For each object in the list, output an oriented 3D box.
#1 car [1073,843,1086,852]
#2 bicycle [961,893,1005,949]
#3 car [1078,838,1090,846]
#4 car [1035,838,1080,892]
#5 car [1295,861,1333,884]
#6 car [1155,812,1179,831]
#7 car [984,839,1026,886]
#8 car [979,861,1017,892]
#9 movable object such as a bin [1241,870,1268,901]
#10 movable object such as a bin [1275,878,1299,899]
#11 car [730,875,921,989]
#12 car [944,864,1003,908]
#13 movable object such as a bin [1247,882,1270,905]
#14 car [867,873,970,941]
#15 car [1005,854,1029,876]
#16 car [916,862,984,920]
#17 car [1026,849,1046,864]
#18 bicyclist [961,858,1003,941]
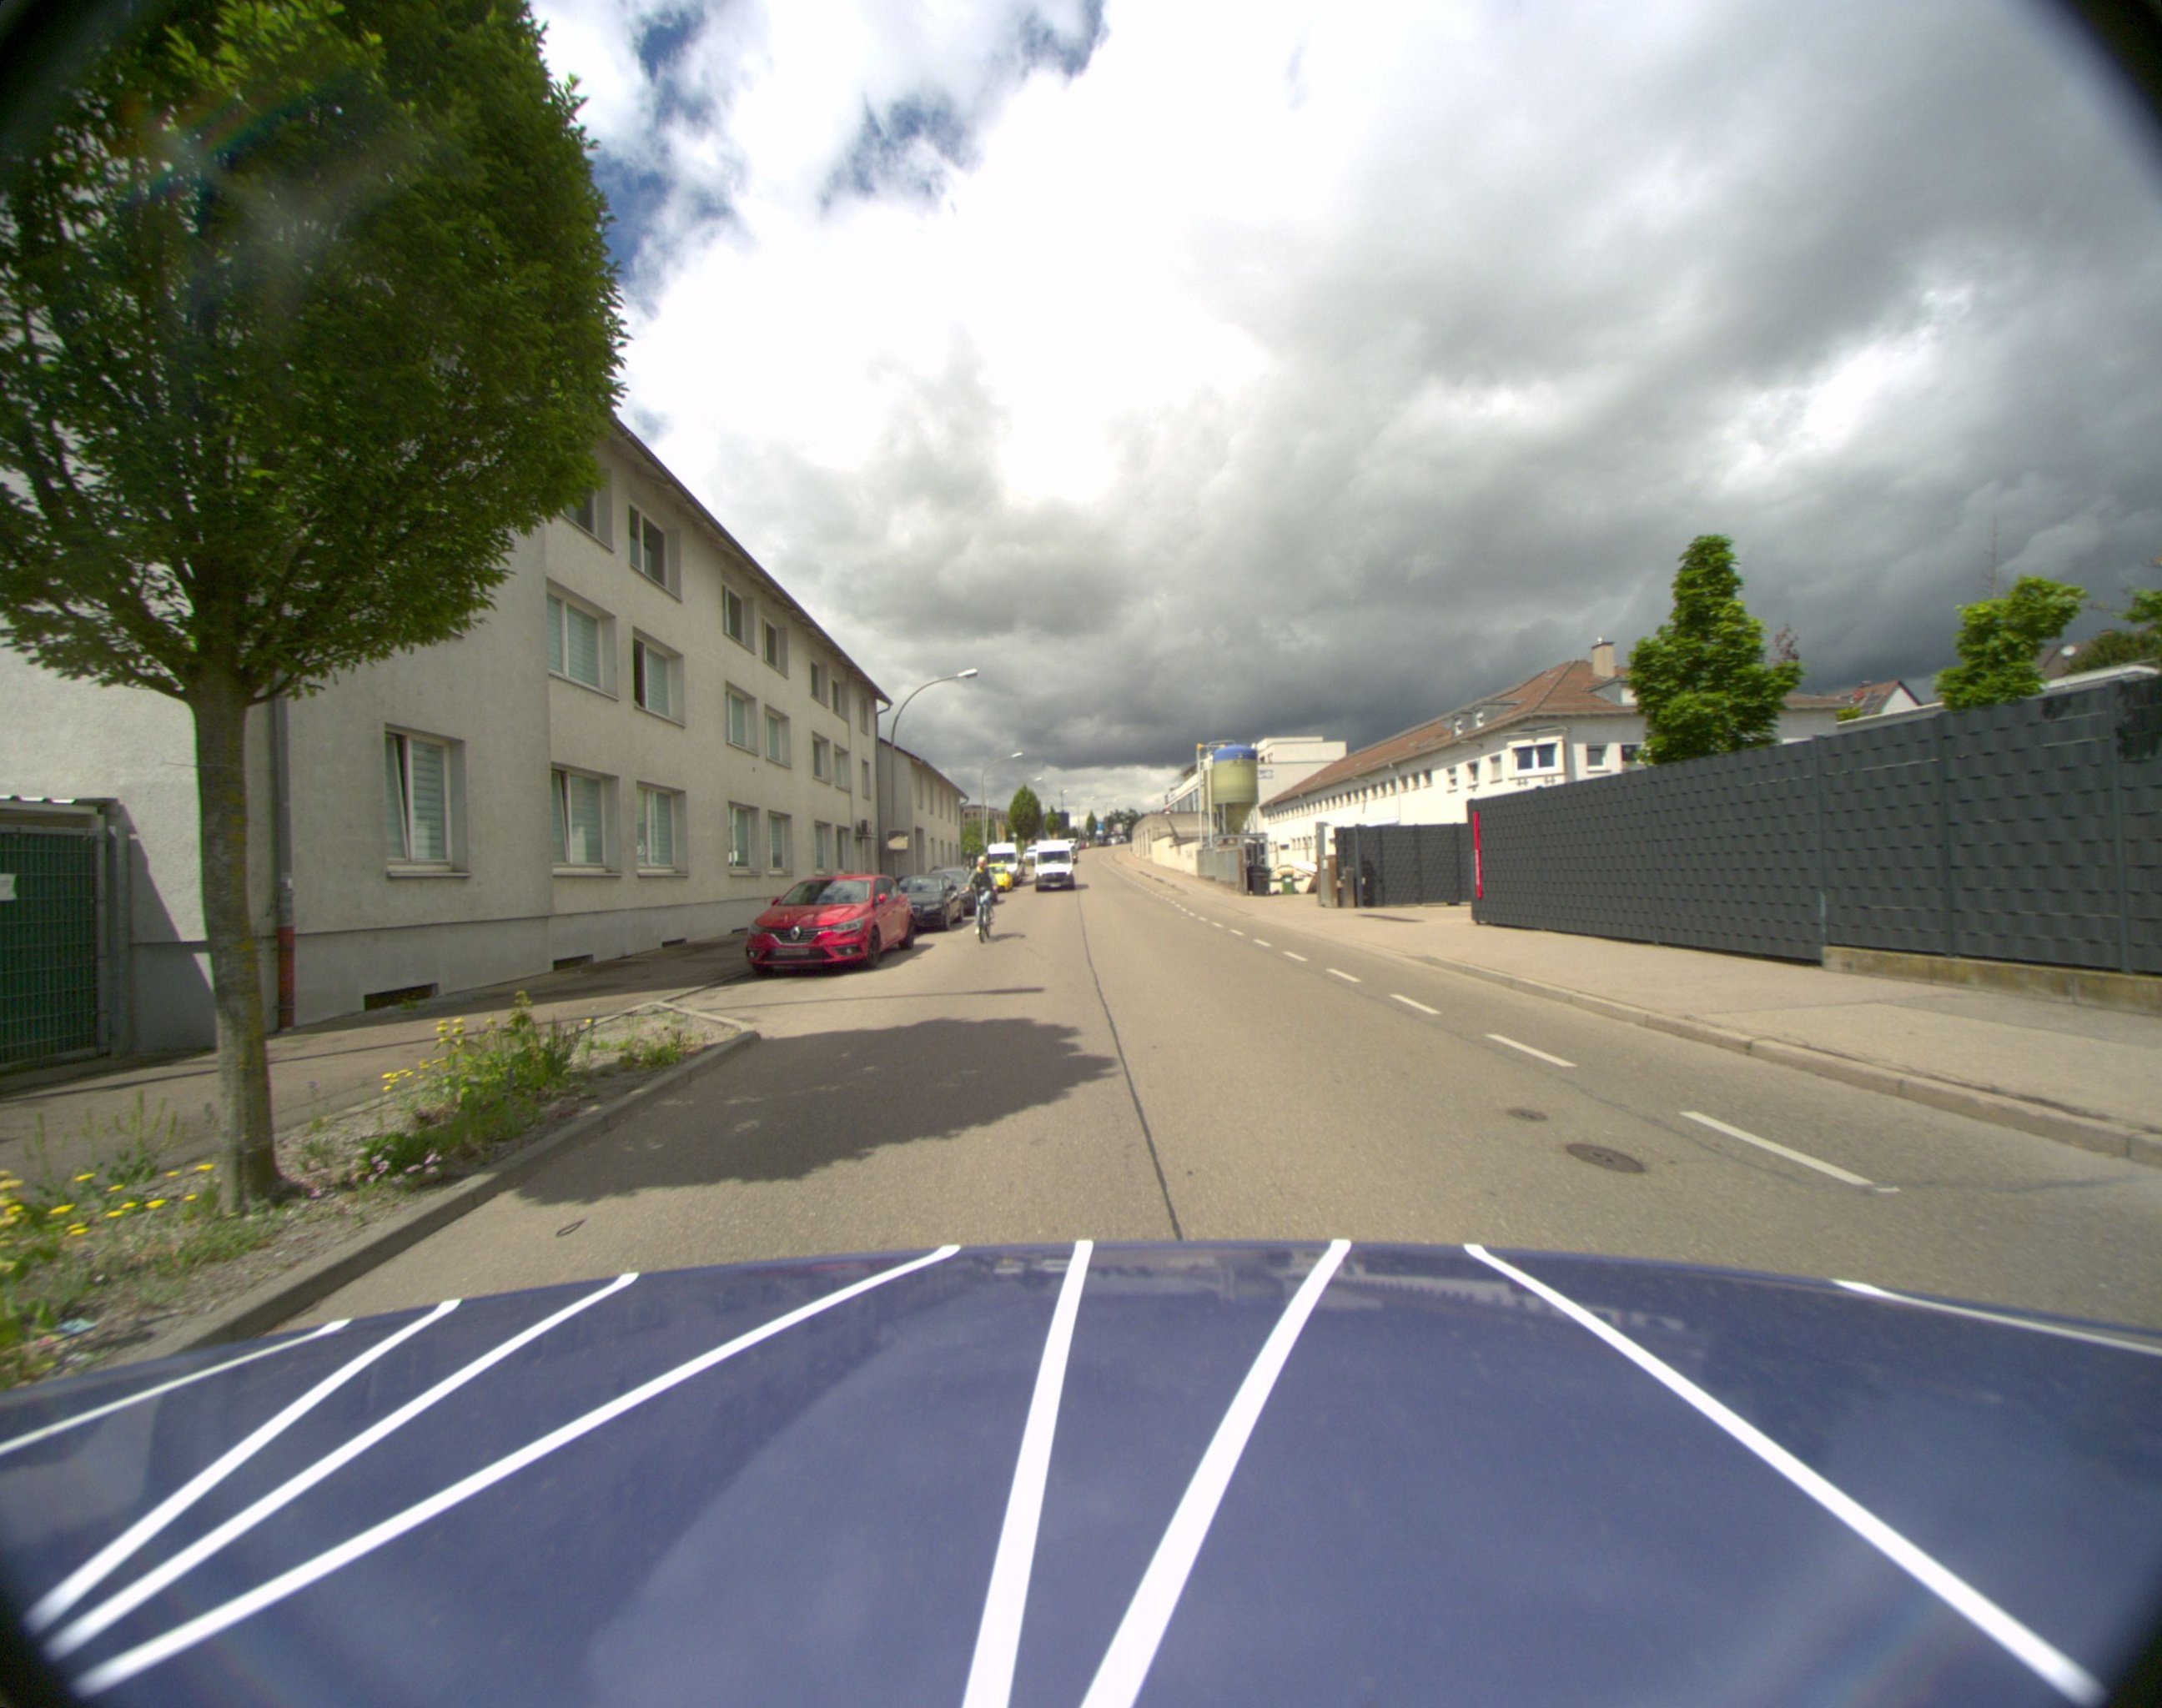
[{"bbox_3d":[-0.322,-1.092,134.762,1.596,1.442,3.981,-2,1,10],"label":"car"},{"bbox_3d":[-1.987,1.347,15.606,0.742,0.969,1.732,-2,0,-3],"label":"bicycle"},{"bbox_3d":[0.602,-2.173,139.293,1.595,1.473,3.502,-2,1,11],"label":"car"},{"bbox_3d":[-1.178,0.480,40.704,2.082,2.576,6.061,-2,2,0],"label":"car"},{"bbox_3d":[19.151,1.492,62.665,1.810,1.627,4.103,-2,1,0],"label":"car"},{"bbox_3d":[8.111,-3.048,71.777,1.810,1.627,4.103,-2,1,0],"label":"car"},{"bbox_3d":[-4.633,0.397,47.302,2.039,2.626,7.279,-2,1,-2],"label":"car"},{"bbox_3d":[-4.398,1.172,40.739,1.597,1.439,3.790,-2,0,0],"label":"car"},{"bbox_3d":[8.120,1.461,35.582,0.993,1.384,1.216,0,-1,1],"label":"movable object such as a bin"},{"bbox_3d":[9.899,1.661,36.562,0.736,0.996,0.857,-2,-1,-17],"label":"movable object such as a bin"},{"bbox_3d":[-3.989,1.139,12.661,1.739,1.463,4.261,-3,-1,-1],"label":"car"},{"bbox_3d":[-4.251,1.238,30.726,1.709,1.501,5.087,-4,-1,-2],"label":"car"},{"bbox_3d":[8.082,1.785,34.604,0.874,1.044,0.741,0,-1,3],"label":"movable object such as a bin"},{"bbox_3d":[-4.053,1.266,19.730,1.739,1.415,4.860,-3,-1,-2],"label":"car"},{"bbox_3d":[-4.867,0.812,58.469,1.571,1.501,4.092,-2,1,-1],"label":"car"},{"bbox_3d":[-4.230,1.160,25.183,1.681,1.628,4.795,-4,-1,-5],"label":"car"},{"bbox_3d":[-4.931,0.228,84.256,1.846,1.556,4.465,0,2,1],"label":"car"},{"bbox_3d":[-2.002,0.906,15.452,0.741,1.617,0.731,-2,2,-4],"label":"bicyclist"}]
